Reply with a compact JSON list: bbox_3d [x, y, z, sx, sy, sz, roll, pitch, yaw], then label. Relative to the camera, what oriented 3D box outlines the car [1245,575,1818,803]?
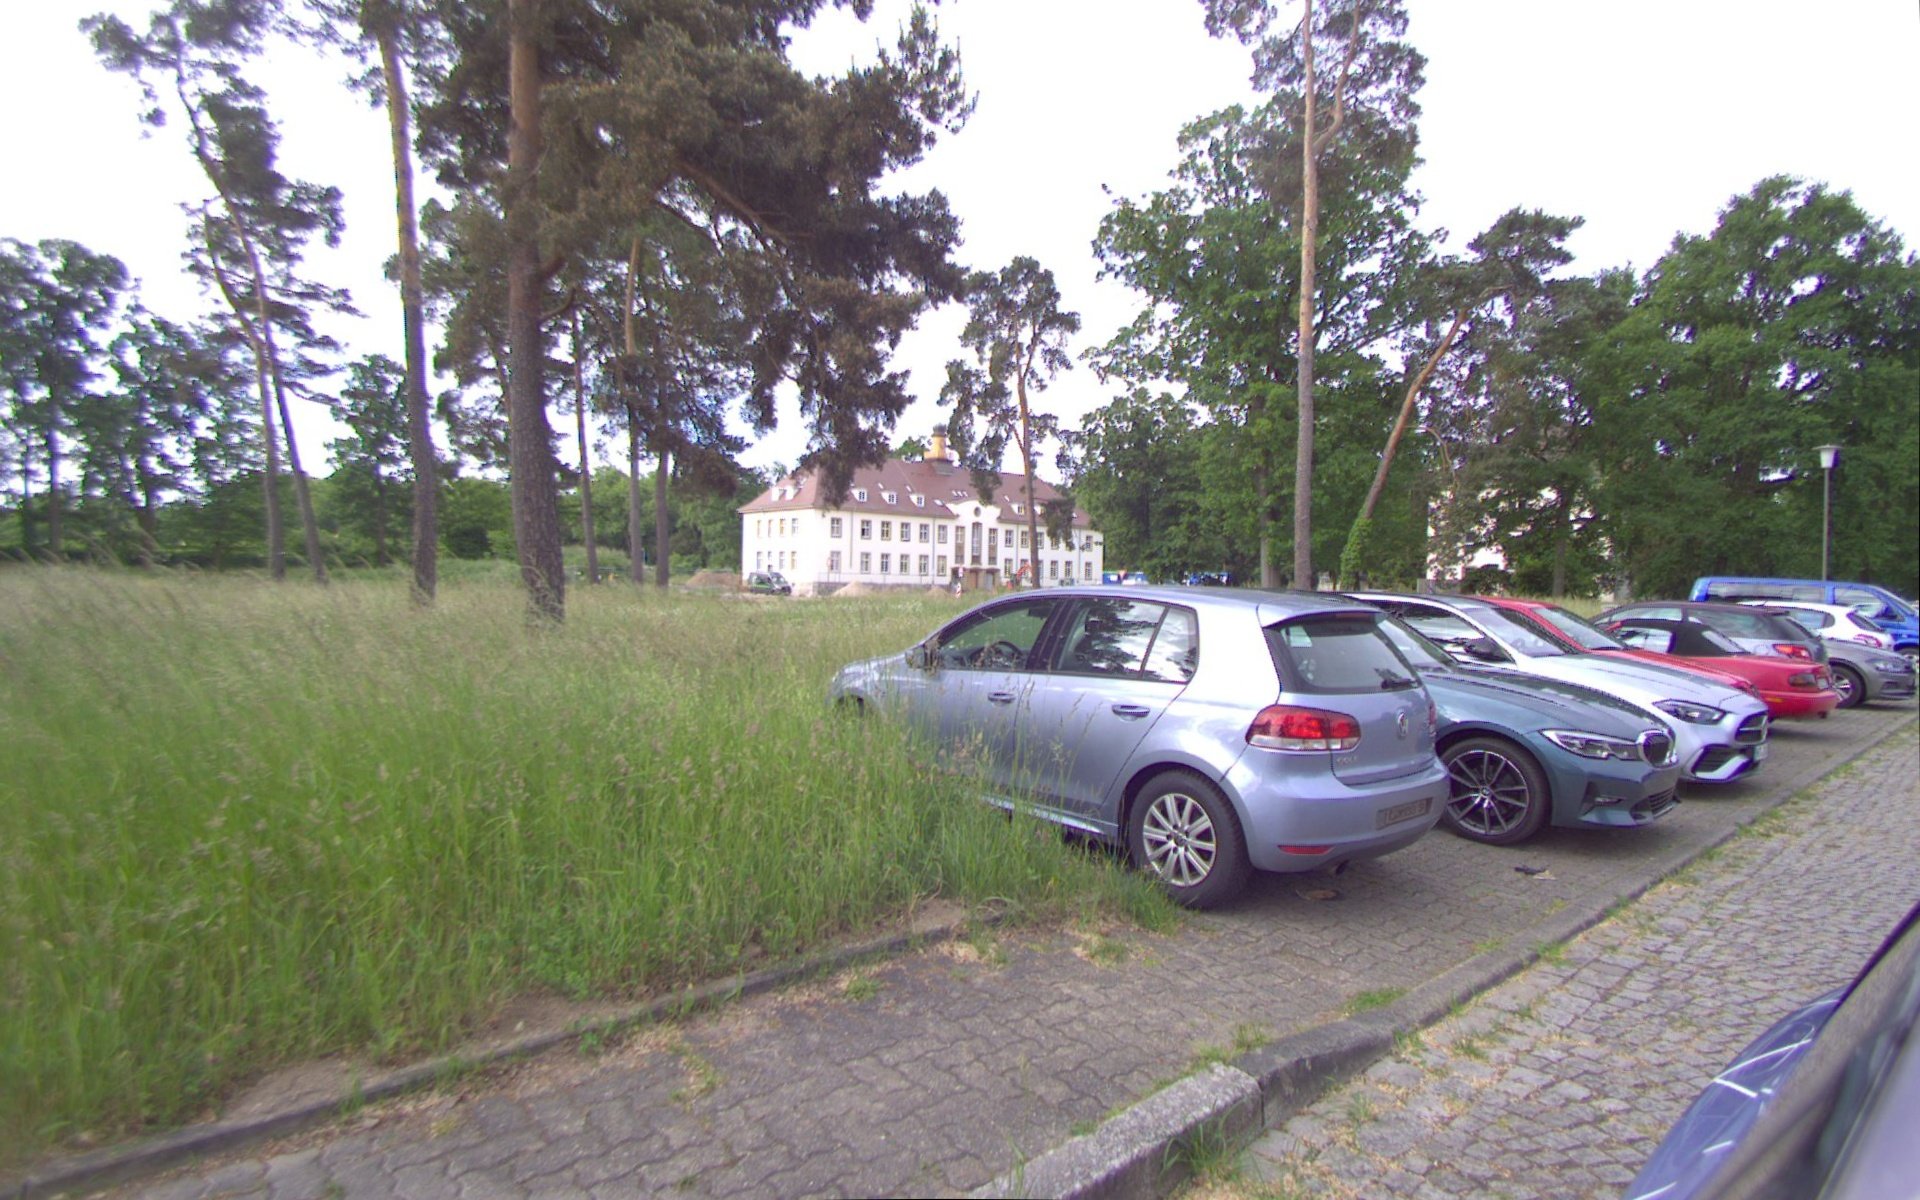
[{"bbox_3d":[4.940,0.593,9.326,1.686,1.491,4.249,1,2,-38],"label":"car"}]

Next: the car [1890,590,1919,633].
[{"bbox_3d":[40.317,0.528,40.616,1.693,1.715,4.090,1,2,-33],"label":"car"}]

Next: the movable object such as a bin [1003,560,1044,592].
[{"bbox_3d":[7.763,-2.940,123.688,2.015,3.817,5.462,0,1,-37],"label":"movable object such as a bin"}]

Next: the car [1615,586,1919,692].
[{"bbox_3d":[14.330,0.601,18.124,1.571,1.535,4.052,1,2,-38],"label":"car"}]

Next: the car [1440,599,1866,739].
[{"bbox_3d":[8.297,0.707,12.451,1.522,1.255,4.050,1,2,-40],"label":"car"}]

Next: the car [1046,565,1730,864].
[{"bbox_3d":[2.842,0.561,7.631,1.635,1.400,4.437,0,4,-42],"label":"car"}]

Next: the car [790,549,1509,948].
[{"bbox_3d":[0.791,0.515,6.059,1.669,1.446,4.009,0,4,-42],"label":"car"}]

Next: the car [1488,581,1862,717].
[{"bbox_3d":[10.020,0.571,14.476,1.571,1.535,4.052,1,2,-38],"label":"car"}]

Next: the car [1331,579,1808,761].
[{"bbox_3d":[6.512,0.598,11.237,1.686,1.500,4.183,1,2,-40],"label":"car"}]

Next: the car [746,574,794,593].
[{"bbox_3d":[-20.277,-1.722,107.780,2.159,1.985,5.780,0,1,-44],"label":"car"}]

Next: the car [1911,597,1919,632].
[{"bbox_3d":[43.909,0.731,43.498,1.693,1.552,4.100,1,2,-33],"label":"car"}]

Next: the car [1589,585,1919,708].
[{"bbox_3d":[12.478,0.612,15.864,1.669,1.535,4.100,1,2,-38],"label":"car"}]

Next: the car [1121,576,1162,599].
[{"bbox_3d":[19.156,-1.354,106.747,4.369,2.394,1.861,-1,1,-41],"label":"car"}]

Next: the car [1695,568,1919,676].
[{"bbox_3d":[18.572,0.392,21.348,1.877,2.030,4.603,0,3,-38],"label":"car"}]

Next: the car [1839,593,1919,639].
[{"bbox_3d":[32.501,0.582,34.114,1.695,1.462,4.085,1,2,-38],"label":"car"}]

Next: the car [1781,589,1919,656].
[{"bbox_3d":[24.981,0.605,27.310,1.624,1.612,4.086,1,2,-38],"label":"car"}]
